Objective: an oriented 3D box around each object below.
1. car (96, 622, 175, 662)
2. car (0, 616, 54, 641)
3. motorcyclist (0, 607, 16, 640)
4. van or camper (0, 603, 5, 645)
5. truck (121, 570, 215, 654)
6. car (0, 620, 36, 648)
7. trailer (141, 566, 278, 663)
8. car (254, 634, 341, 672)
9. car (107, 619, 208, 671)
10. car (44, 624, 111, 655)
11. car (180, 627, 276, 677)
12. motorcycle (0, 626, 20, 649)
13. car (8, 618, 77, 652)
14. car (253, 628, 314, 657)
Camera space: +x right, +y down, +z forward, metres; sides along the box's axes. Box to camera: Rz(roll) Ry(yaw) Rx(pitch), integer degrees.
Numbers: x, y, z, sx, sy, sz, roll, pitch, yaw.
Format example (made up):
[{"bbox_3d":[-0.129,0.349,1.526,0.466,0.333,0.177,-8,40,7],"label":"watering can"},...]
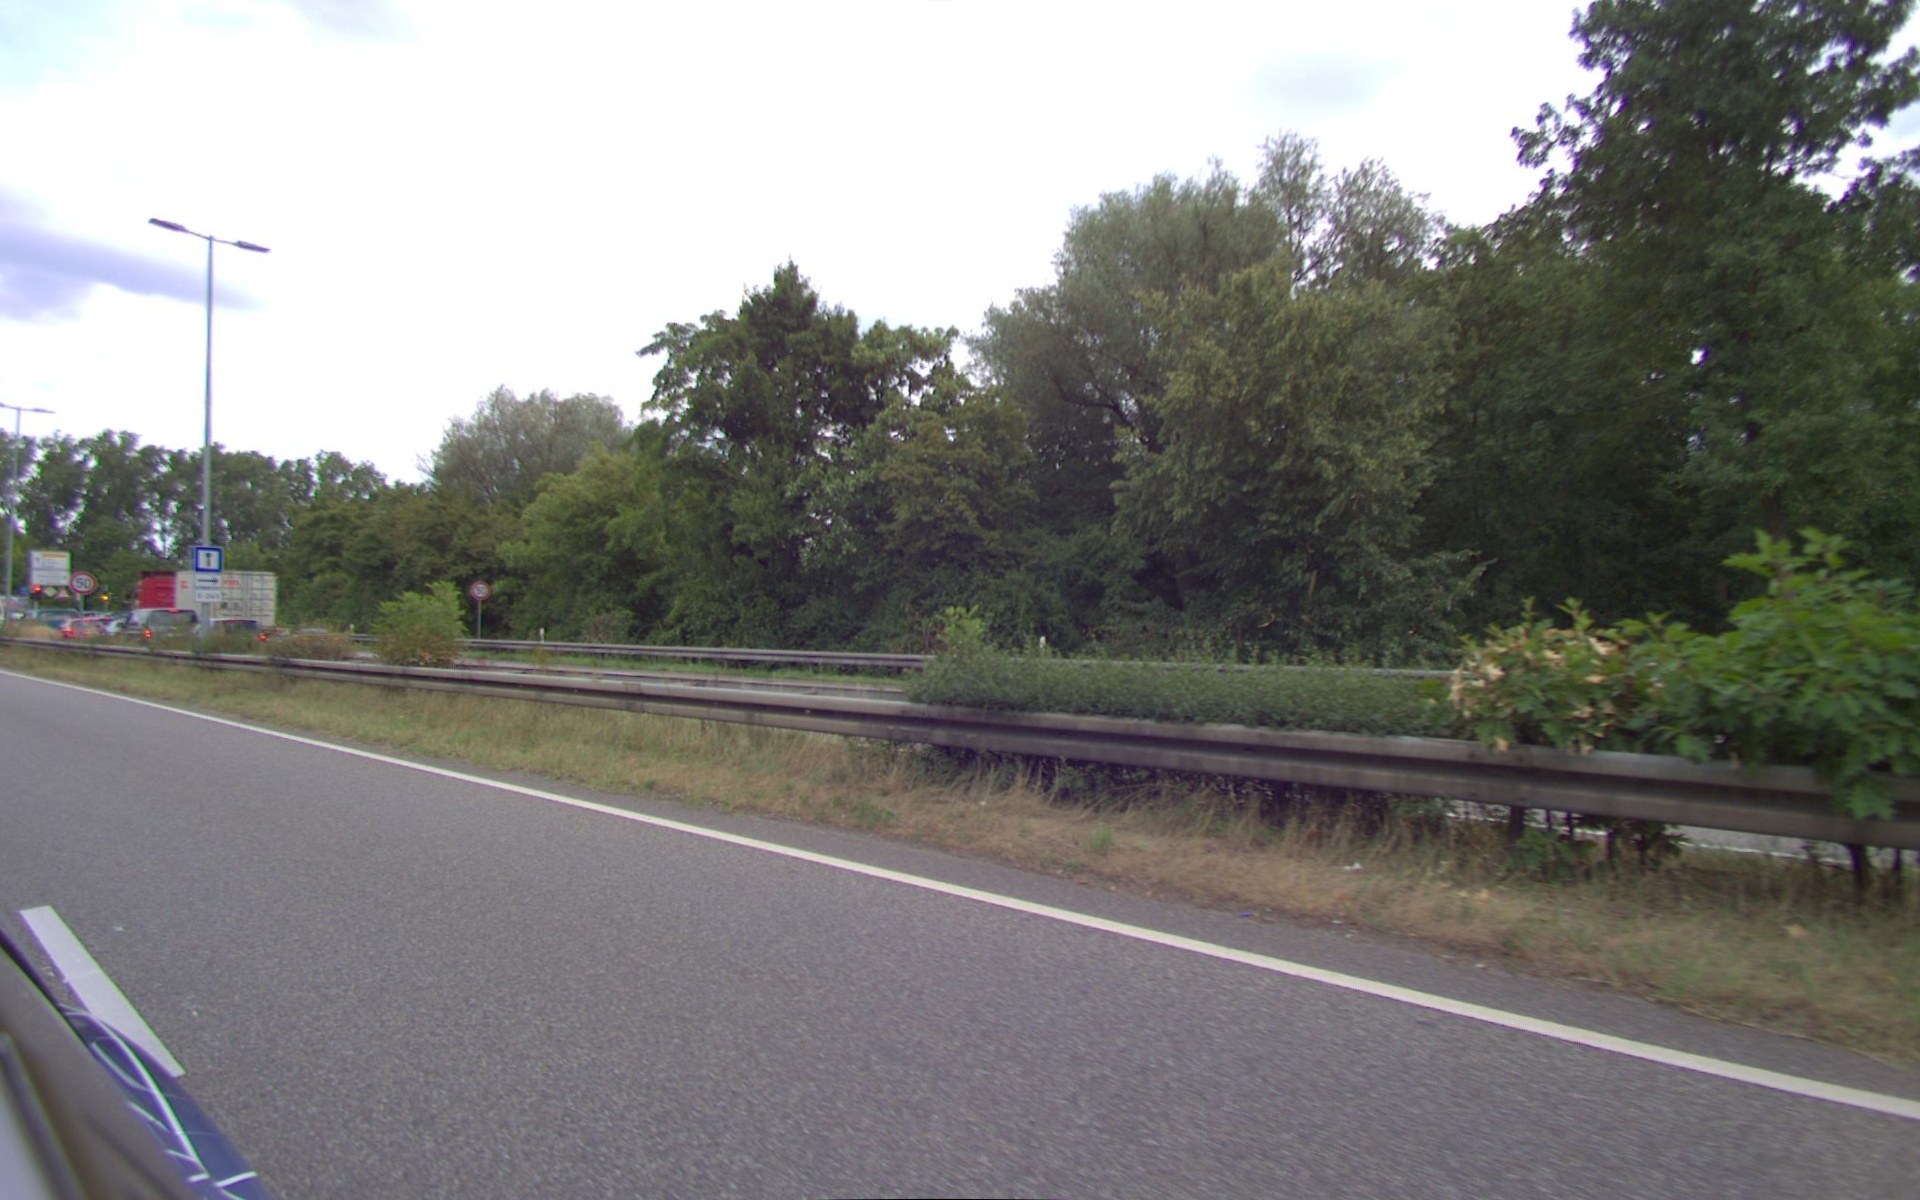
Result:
[{"bbox_3d":[-37.307,1.866,45.769,4.329,1.679,1.823,0,-1,38],"label":"car"},{"bbox_3d":[-62.582,1.899,67.561,4.525,1.558,1.978,0,-1,33],"label":"car"},{"bbox_3d":[-54.270,1.307,57.410,0.922,1.837,0.859,0,-1,32],"label":"motorcyclist"},{"bbox_3d":[-63.346,1.484,64.391,6.472,2.608,2.144,0,-1,31],"label":"van or camper"},{"bbox_3d":[-40.759,0.595,52.055,5.616,4.114,2.543,0,-1,39],"label":"truck"},{"bbox_3d":[-56.858,2.003,60.026,4.386,1.510,1.978,0,-1,33],"label":"car"},{"bbox_3d":[-35.901,0.639,48.190,10.757,4.178,2.510,0,-1,38],"label":"trailer"},{"bbox_3d":[-26.128,2.056,39.879,3.997,1.298,1.801,0,-1,40],"label":"car"},{"bbox_3d":[-31.893,1.708,40.160,5.271,1.877,1.990,0,-1,39],"label":"car"},{"bbox_3d":[-45.141,2.012,51.744,4.118,1.443,1.787,0,-1,37],"label":"car"},{"bbox_3d":[-25.103,1.727,34.664,3.936,1.517,1.749,0,-1,40],"label":"car"},{"bbox_3d":[-54.300,2.133,57.439,2.318,1.234,0.793,0,-1,32],"label":"motorcycle"},{"bbox_3d":[-50.455,1.902,55.632,4.950,1.742,1.788,0,-1,36],"label":"car"},{"bbox_3d":[-35.756,2.221,53.453,4.157,1.342,1.607,0,-1,40],"label":"car"}]
